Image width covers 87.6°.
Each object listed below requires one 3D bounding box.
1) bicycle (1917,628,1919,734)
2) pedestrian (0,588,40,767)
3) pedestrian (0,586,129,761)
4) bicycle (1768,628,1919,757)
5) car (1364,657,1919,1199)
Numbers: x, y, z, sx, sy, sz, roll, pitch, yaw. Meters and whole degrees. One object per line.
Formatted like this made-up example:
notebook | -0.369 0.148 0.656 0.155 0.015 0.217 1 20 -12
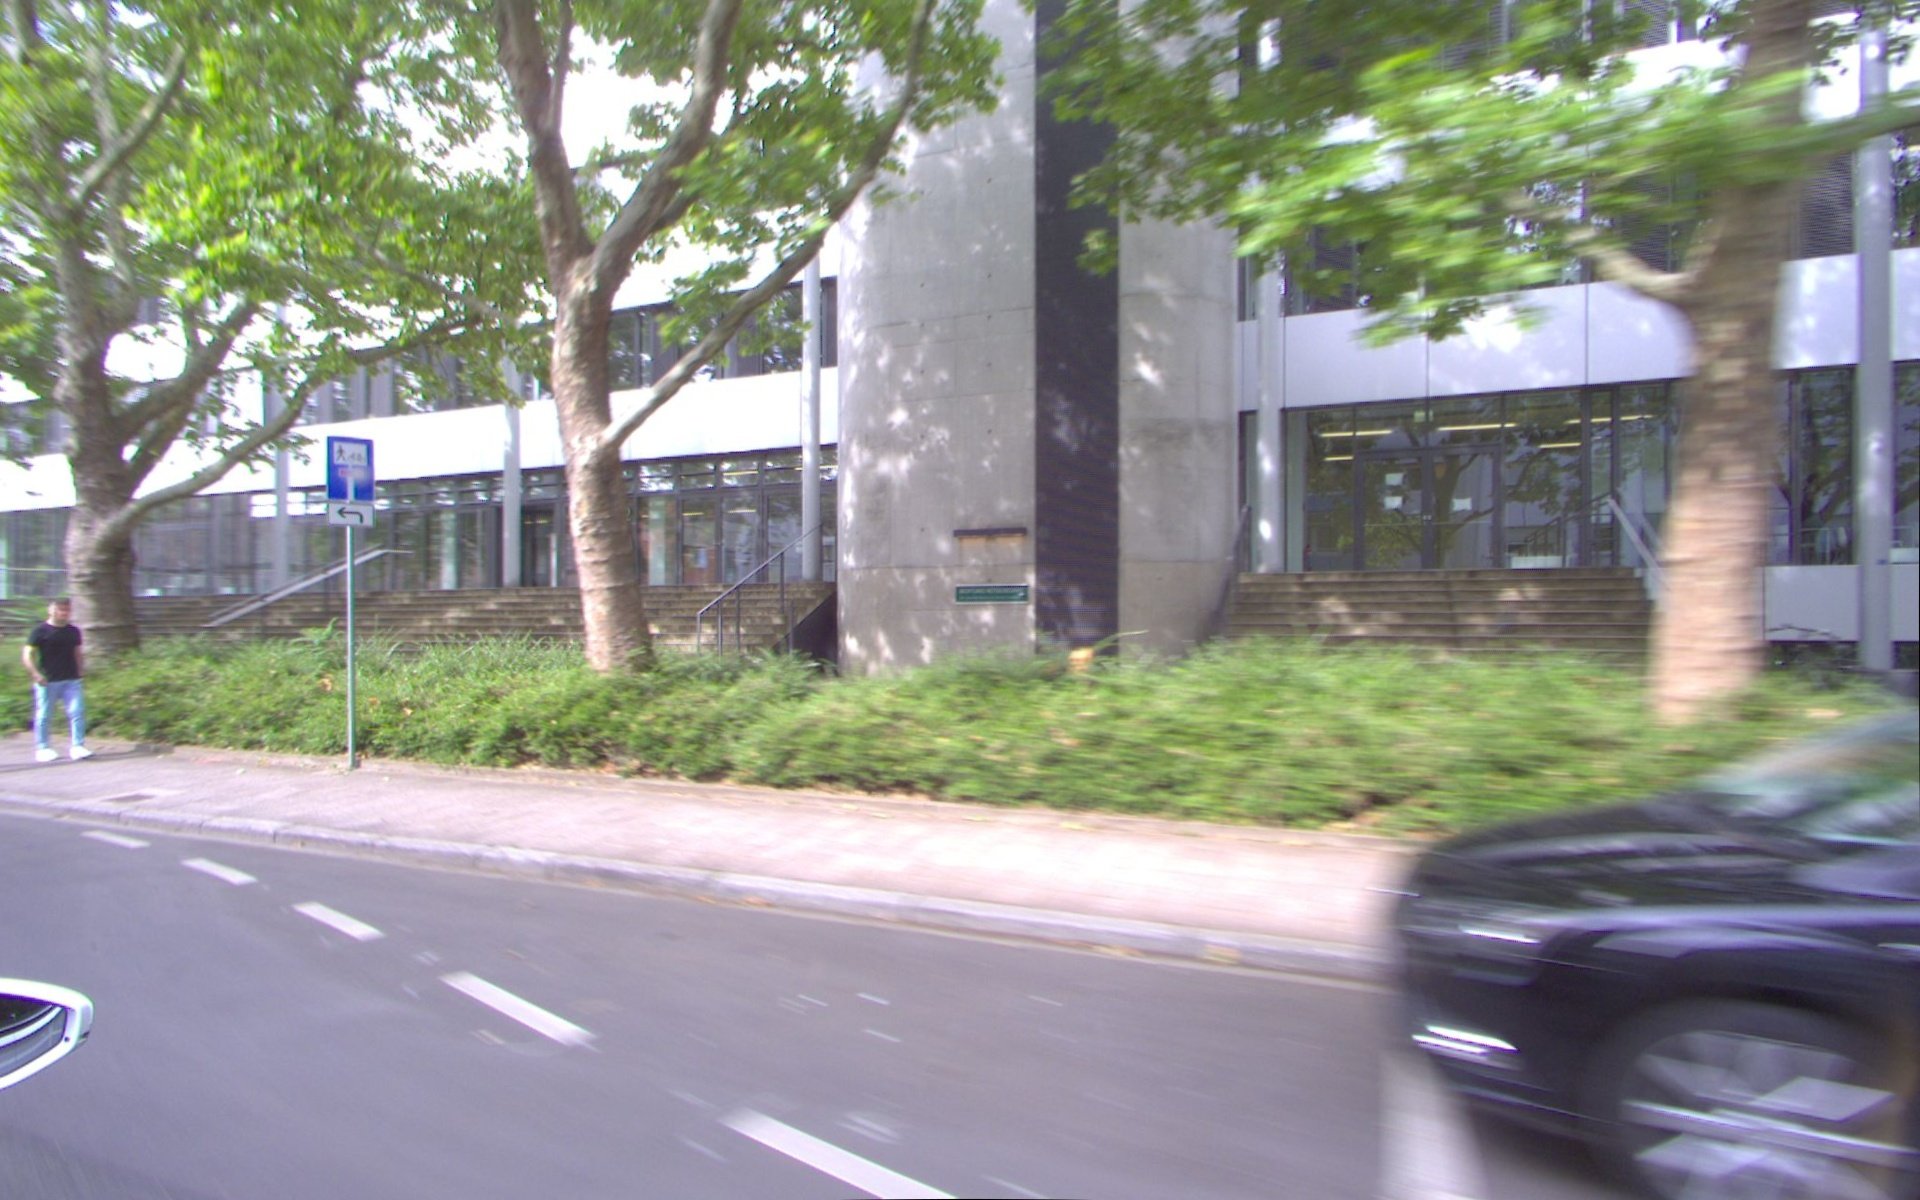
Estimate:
bicycle | 10.157 0.859 9.617 0.662 1.132 2.080 0 0 22
pedestrian | -10.157 0.790 10.223 1.016 1.807 0.711 -1 1 21
pedestrian | -9.797 0.769 10.908 1.016 1.824 0.715 -1 1 21
bicycle | 8.956 0.877 10.151 0.662 1.132 1.916 0 0 22
car | 3.483 0.911 2.736 4.345 1.443 1.701 0 -3 20
